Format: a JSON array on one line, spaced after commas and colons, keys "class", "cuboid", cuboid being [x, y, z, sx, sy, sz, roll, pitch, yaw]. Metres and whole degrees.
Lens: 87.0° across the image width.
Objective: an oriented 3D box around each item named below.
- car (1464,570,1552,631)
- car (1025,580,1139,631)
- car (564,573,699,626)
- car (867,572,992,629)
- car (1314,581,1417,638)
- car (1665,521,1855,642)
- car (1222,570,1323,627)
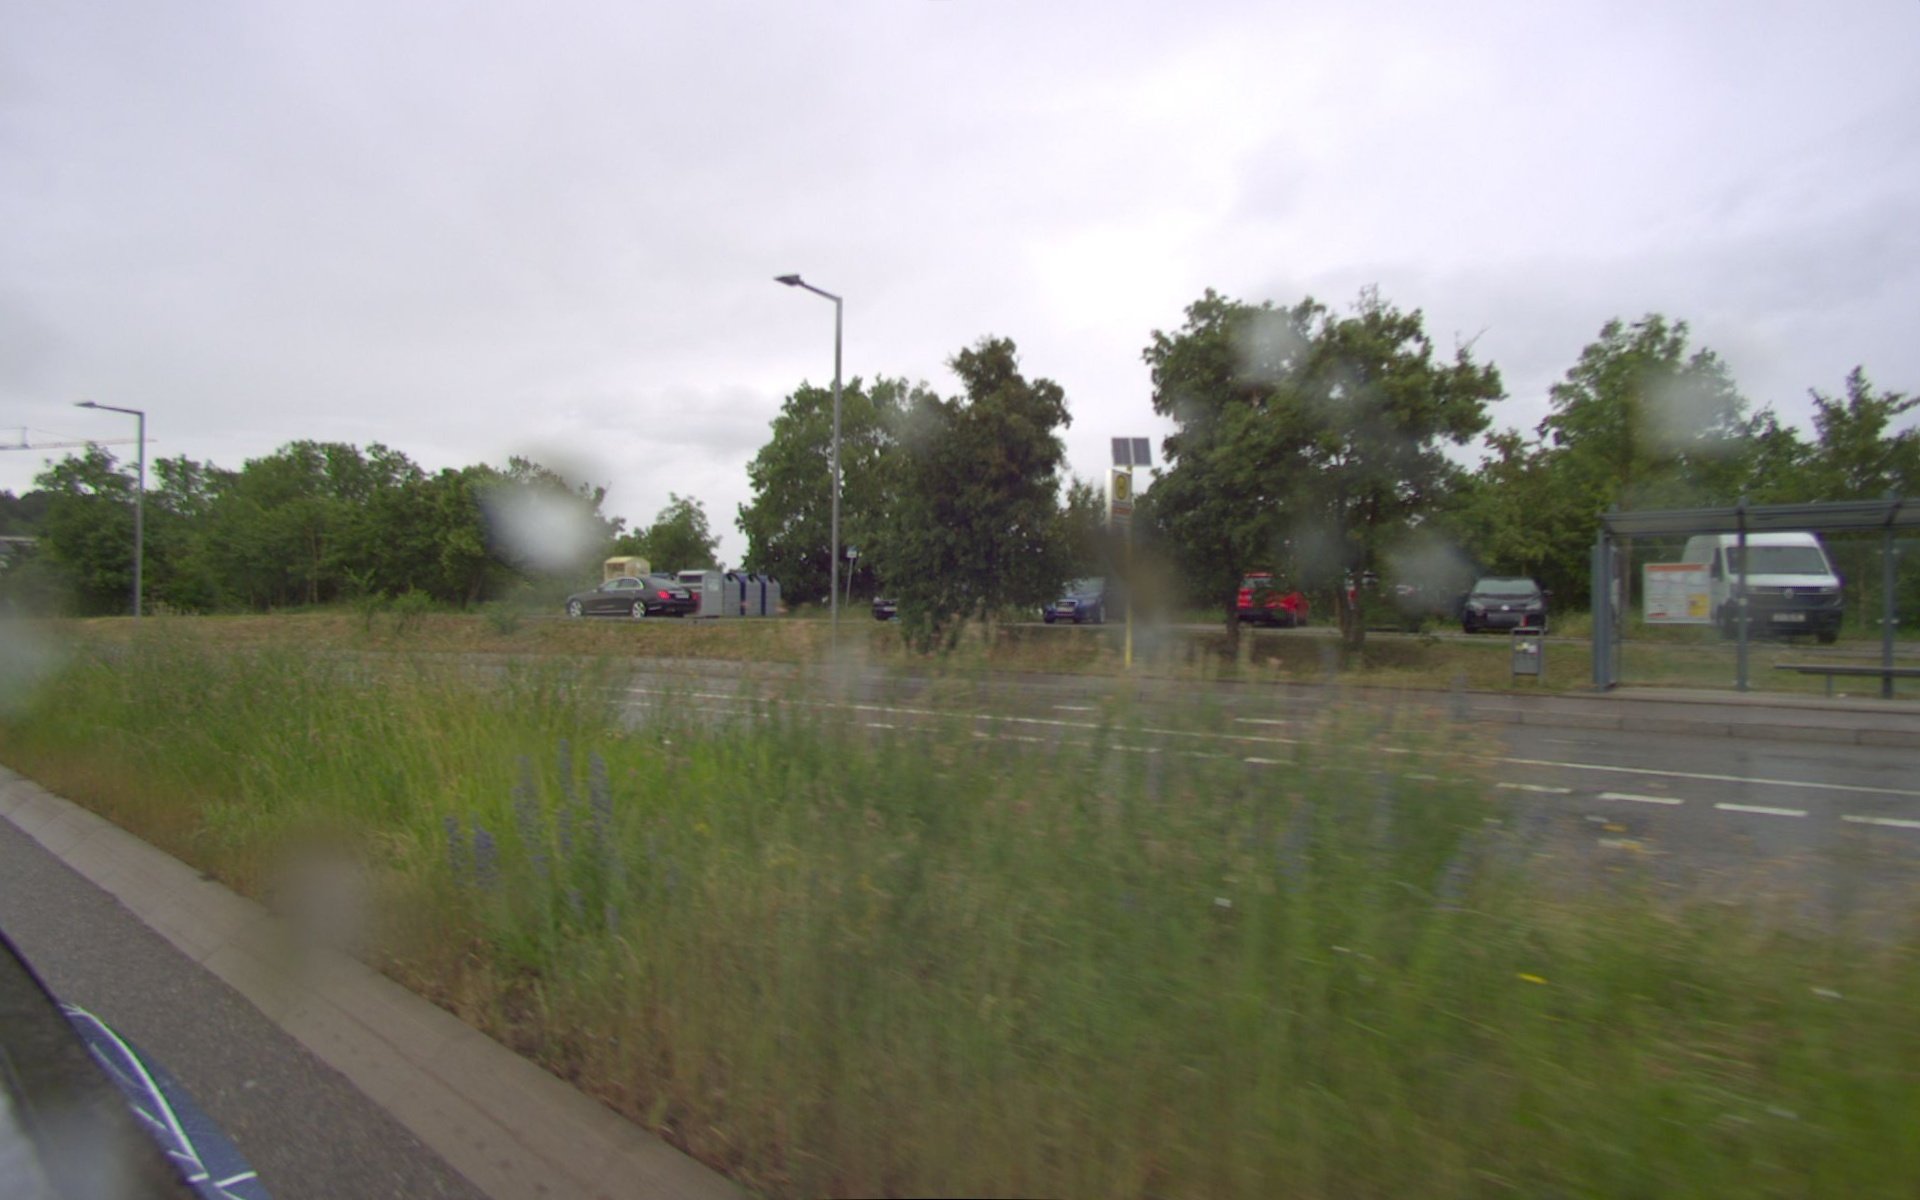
[{"class": "car", "cuboid": [13.638, -0.025, 25.081, 1.648, 1.374, 3.956, -1, 1, 32]}, {"class": "car", "cuboid": [3.731, 0.131, 30.395, 1.894, 1.374, 3.956, -1, 1, 33]}, {"class": "car", "cuboid": [-11.018, 0.002, 33.824, 4.524, 1.580, 1.680, -2, 1, 30]}, {"class": "car", "cuboid": [-0.924, 0.074, 33.734, 1.997, 1.706, 4.672, -1, -2, 30]}, {"class": "car", "cuboid": [10.721, 0.269, 26.618, 1.842, 1.374, 3.956, -1, -1, 32]}, {"class": "car", "cuboid": [18.293, -0.399, 23.538, 2.128, 2.415, 6.517, 1, 1, 27]}, {"class": "car", "cuboid": [8.859, 0.016, 28.454, 1.841, 1.480, 3.958, -1, -1, 31]}]
